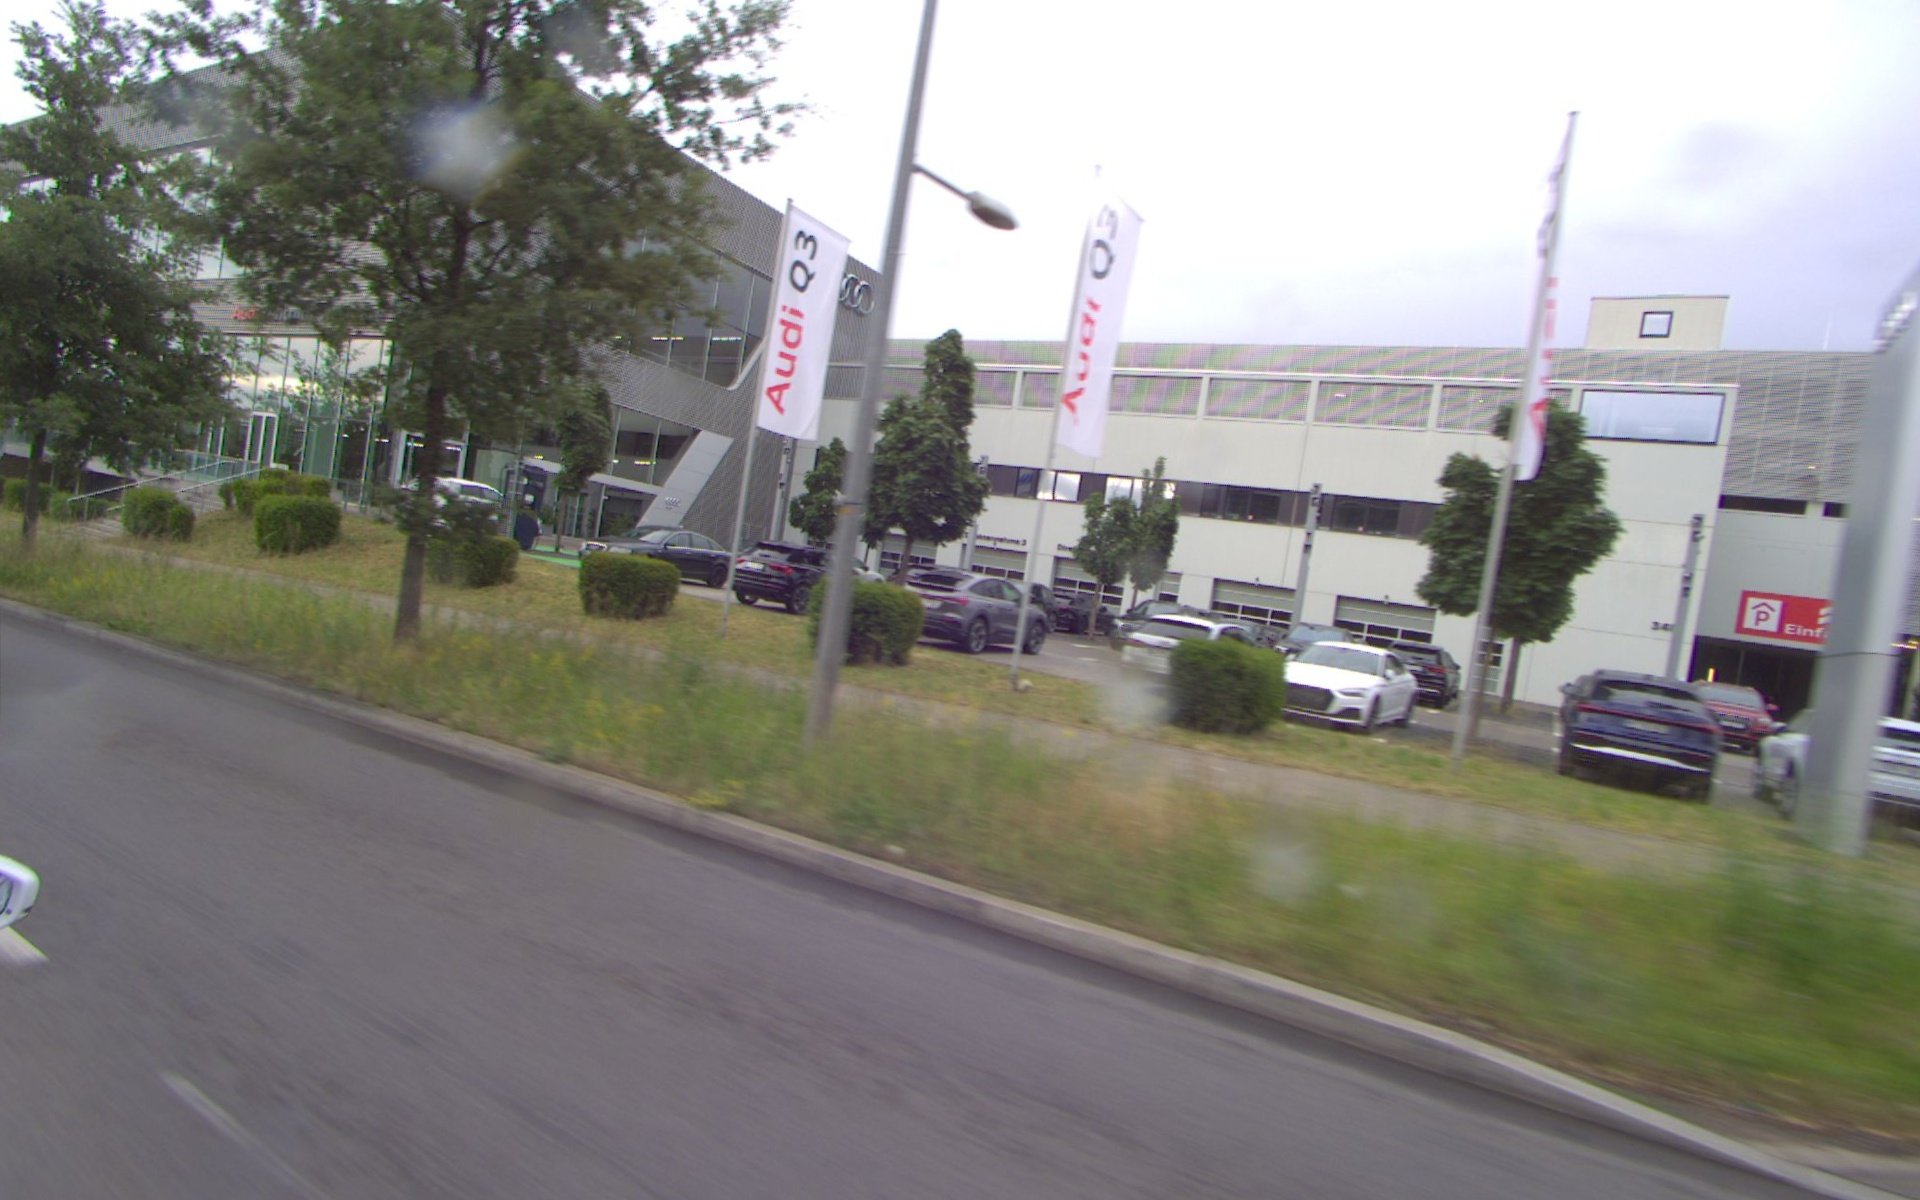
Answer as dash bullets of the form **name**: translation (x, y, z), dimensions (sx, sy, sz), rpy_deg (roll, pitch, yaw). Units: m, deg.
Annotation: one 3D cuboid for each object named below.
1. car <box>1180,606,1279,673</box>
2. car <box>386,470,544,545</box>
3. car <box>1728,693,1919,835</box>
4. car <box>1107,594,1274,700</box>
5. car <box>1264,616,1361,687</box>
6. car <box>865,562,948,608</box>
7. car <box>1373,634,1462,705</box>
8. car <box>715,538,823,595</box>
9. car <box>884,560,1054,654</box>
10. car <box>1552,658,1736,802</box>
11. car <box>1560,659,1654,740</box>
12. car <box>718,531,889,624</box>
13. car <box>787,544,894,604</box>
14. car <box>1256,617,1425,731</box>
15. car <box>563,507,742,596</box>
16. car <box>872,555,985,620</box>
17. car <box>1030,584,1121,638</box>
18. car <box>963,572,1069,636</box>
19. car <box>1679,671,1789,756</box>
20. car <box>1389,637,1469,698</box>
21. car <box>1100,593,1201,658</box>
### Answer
- **car**: translation (8.158, 1.224, 30.178), dimensions (1.664, 1.593, 4.113), rpy_deg (8, -1, 30)
- **car**: translation (-15.976, -2.945, 32.717), dimensions (1.664, 1.592, 4.269), rpy_deg (8, -2, 31)
- **car**: translation (12.567, 2.215, 13.980), dimensions (1.913, 1.612, 4.120), rpy_deg (6, -2, 23)
- **car**: translation (4.490, 0.968, 19.022), dimensions (1.664, 1.613, 4.528), rpy_deg (6, -2, 30)
- **car**: translation (10.001, 1.497, 28.351), dimensions (1.664, 1.592, 4.114), rpy_deg (7, -2, 30)
- **car**: translation (-2.198, -0.594, 42.130), dimensions (1.667, 1.479, 3.595), rpy_deg (9, 2, 29)
- **car**: translation (12.415, 1.933, 27.151), dimensions (1.664, 1.592, 4.114), rpy_deg (6, -2, 30)
- **car**: translation (-7.471, -1.294, 39.728), dimensions (1.730, 1.592, 4.114), rpy_deg (8, -2, 31)
- **car**: translation (0.303, 0.212, 21.542), dimensions (1.664, 1.629, 4.109), rpy_deg (8, 2, 31)
- **car**: translation (10.186, 1.920, 15.289), dimensions (1.840, 1.612, 4.114), rpy_deg (8, -1, 31)
- **car**: translation (18.771, 2.900, 29.311), dimensions (1.967, 1.898, 3.994), rpy_deg (8, -1, 32)
- **car**: translation (-3.632, -0.473, 24.108), dimensions (1.664, 1.592, 4.114), rpy_deg (8, -2, 31)
- **car**: translation (-4.418, -0.945, 37.751), dimensions (1.664, 1.592, 4.114), rpy_deg (8, -2, 31)
- **car**: translation (6.786, 1.361, 17.671), dimensions (1.666, 1.612, 4.109), rpy_deg (6, -2, 35)
- **car**: translation (-8.026, -1.227, 26.653), dimensions (1.664, 1.592, 4.430), rpy_deg (8, -2, 30)
- **car**: translation (-1.019, -0.392, 34.495), dimensions (1.795, 1.592, 4.114), rpy_deg (8, -2, 31)
- **car**: translation (4.375, 0.454, 37.557), dimensions (1.664, 1.594, 4.109), rpy_deg (10, 3, 30)
- **car**: translation (1.930, 0.177, 33.408), dimensions (1.664, 1.593, 4.113), rpy_deg (8, 0, 30)
- **car**: translation (21.146, 3.126, 27.655), dimensions (1.969, 1.876, 4.531), rpy_deg (7, -2, 35)
- **car**: translation (14.767, 2.155, 31.566), dimensions (1.664, 1.593, 4.112), rpy_deg (7, -1, 31)
- **car**: translation (5.971, 0.824, 31.214), dimensions (1.664, 1.593, 4.113), rpy_deg (6, -1, 31)
